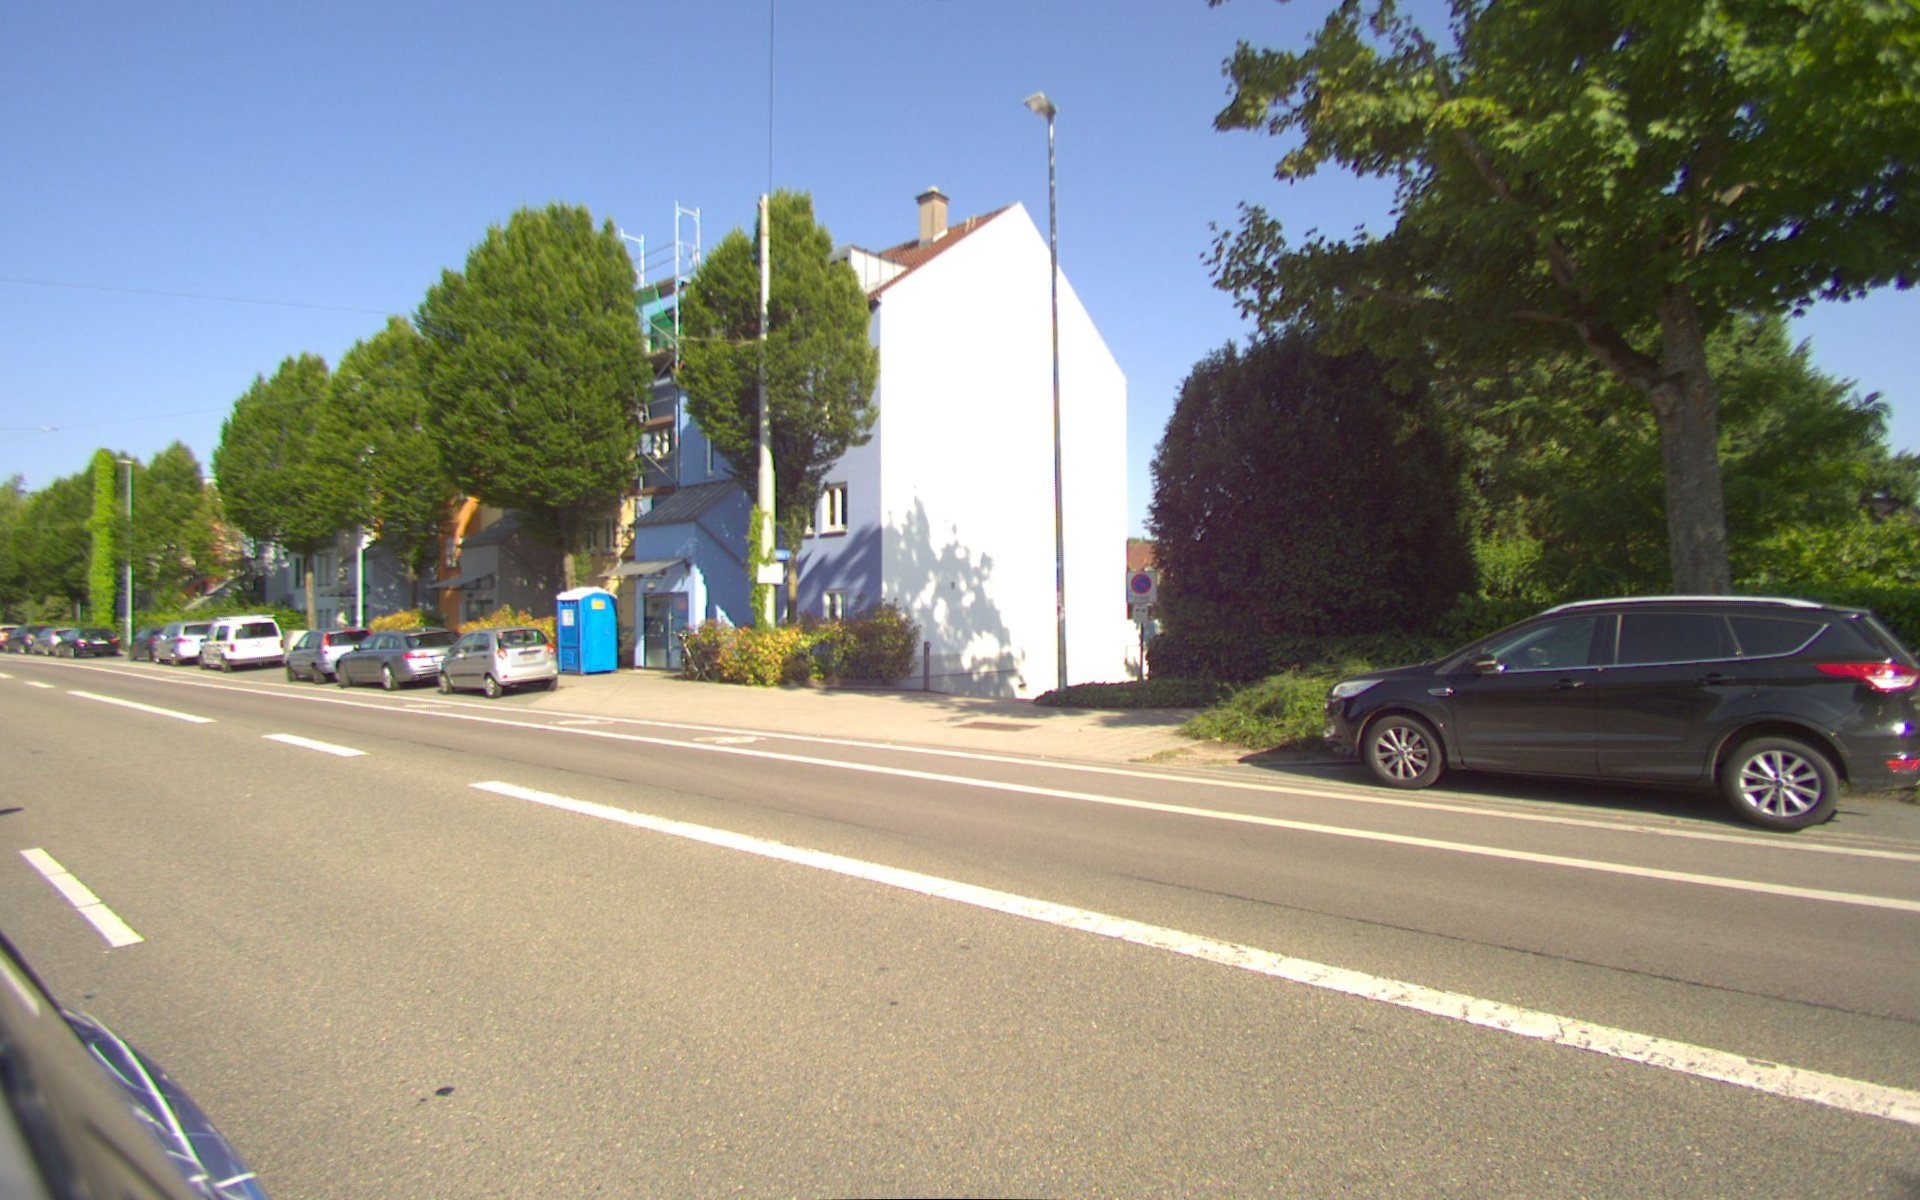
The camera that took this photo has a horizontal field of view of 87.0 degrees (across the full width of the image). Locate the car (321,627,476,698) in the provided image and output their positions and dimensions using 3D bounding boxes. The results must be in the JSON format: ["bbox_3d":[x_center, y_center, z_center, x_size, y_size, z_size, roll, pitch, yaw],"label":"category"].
[{"bbox_3d":[-14.562,1.550,26.137,4.749,1.522,1.732,-2,3,38],"label":"car"}]

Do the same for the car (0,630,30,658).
[{"bbox_3d":[-57.651,2.636,60.753,4.151,1.586,1.748,-1,-1,34],"label":"car"}]

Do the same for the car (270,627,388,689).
[{"bbox_3d":[-18.453,1.634,29.536,3.979,1.550,1.745,-1,3,41],"label":"car"}]

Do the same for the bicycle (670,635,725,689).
[{"bbox_3d":[-5.990,1.384,23.029,0.438,1.163,1.786,1,-1,-42],"label":"bicycle"}]

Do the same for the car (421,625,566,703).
[{"bbox_3d":[-10.648,1.404,23.017,3.506,1.505,1.585,-1,3,40],"label":"car"}]

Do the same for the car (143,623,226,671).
[{"bbox_3d":[-30.830,1.821,40.183,4.821,1.713,1.651,-1,0,41],"label":"car"}]

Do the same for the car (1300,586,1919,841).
[{"bbox_3d":[5.453,0.812,8.781,4.420,1.707,1.694,-2,-2,41],"label":"car"}]

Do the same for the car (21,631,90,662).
[{"bbox_3d":[-48.505,2.445,54.235,4.834,1.482,1.697,0,1,36],"label":"car"}]

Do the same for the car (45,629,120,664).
[{"bbox_3d":[-43.898,2.304,50.588,4.901,1.556,1.849,-1,1,37],"label":"car"}]

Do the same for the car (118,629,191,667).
[{"bbox_3d":[-34.847,2.045,43.767,4.053,1.477,1.600,-1,0,39],"label":"car"}]

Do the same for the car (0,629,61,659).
[{"bbox_3d":[-52.895,2.482,57.304,4.420,1.586,1.750,-1,0,31],"label":"car"}]

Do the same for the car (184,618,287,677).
[{"bbox_3d":[-25.997,1.653,36.270,4.575,1.859,1.746,-2,3,39],"label":"car"}]

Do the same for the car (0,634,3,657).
[{"bbox_3d":[-62.068,2.874,63.719,4.700,1.435,1.638,-2,-2,34],"label":"car"}]
